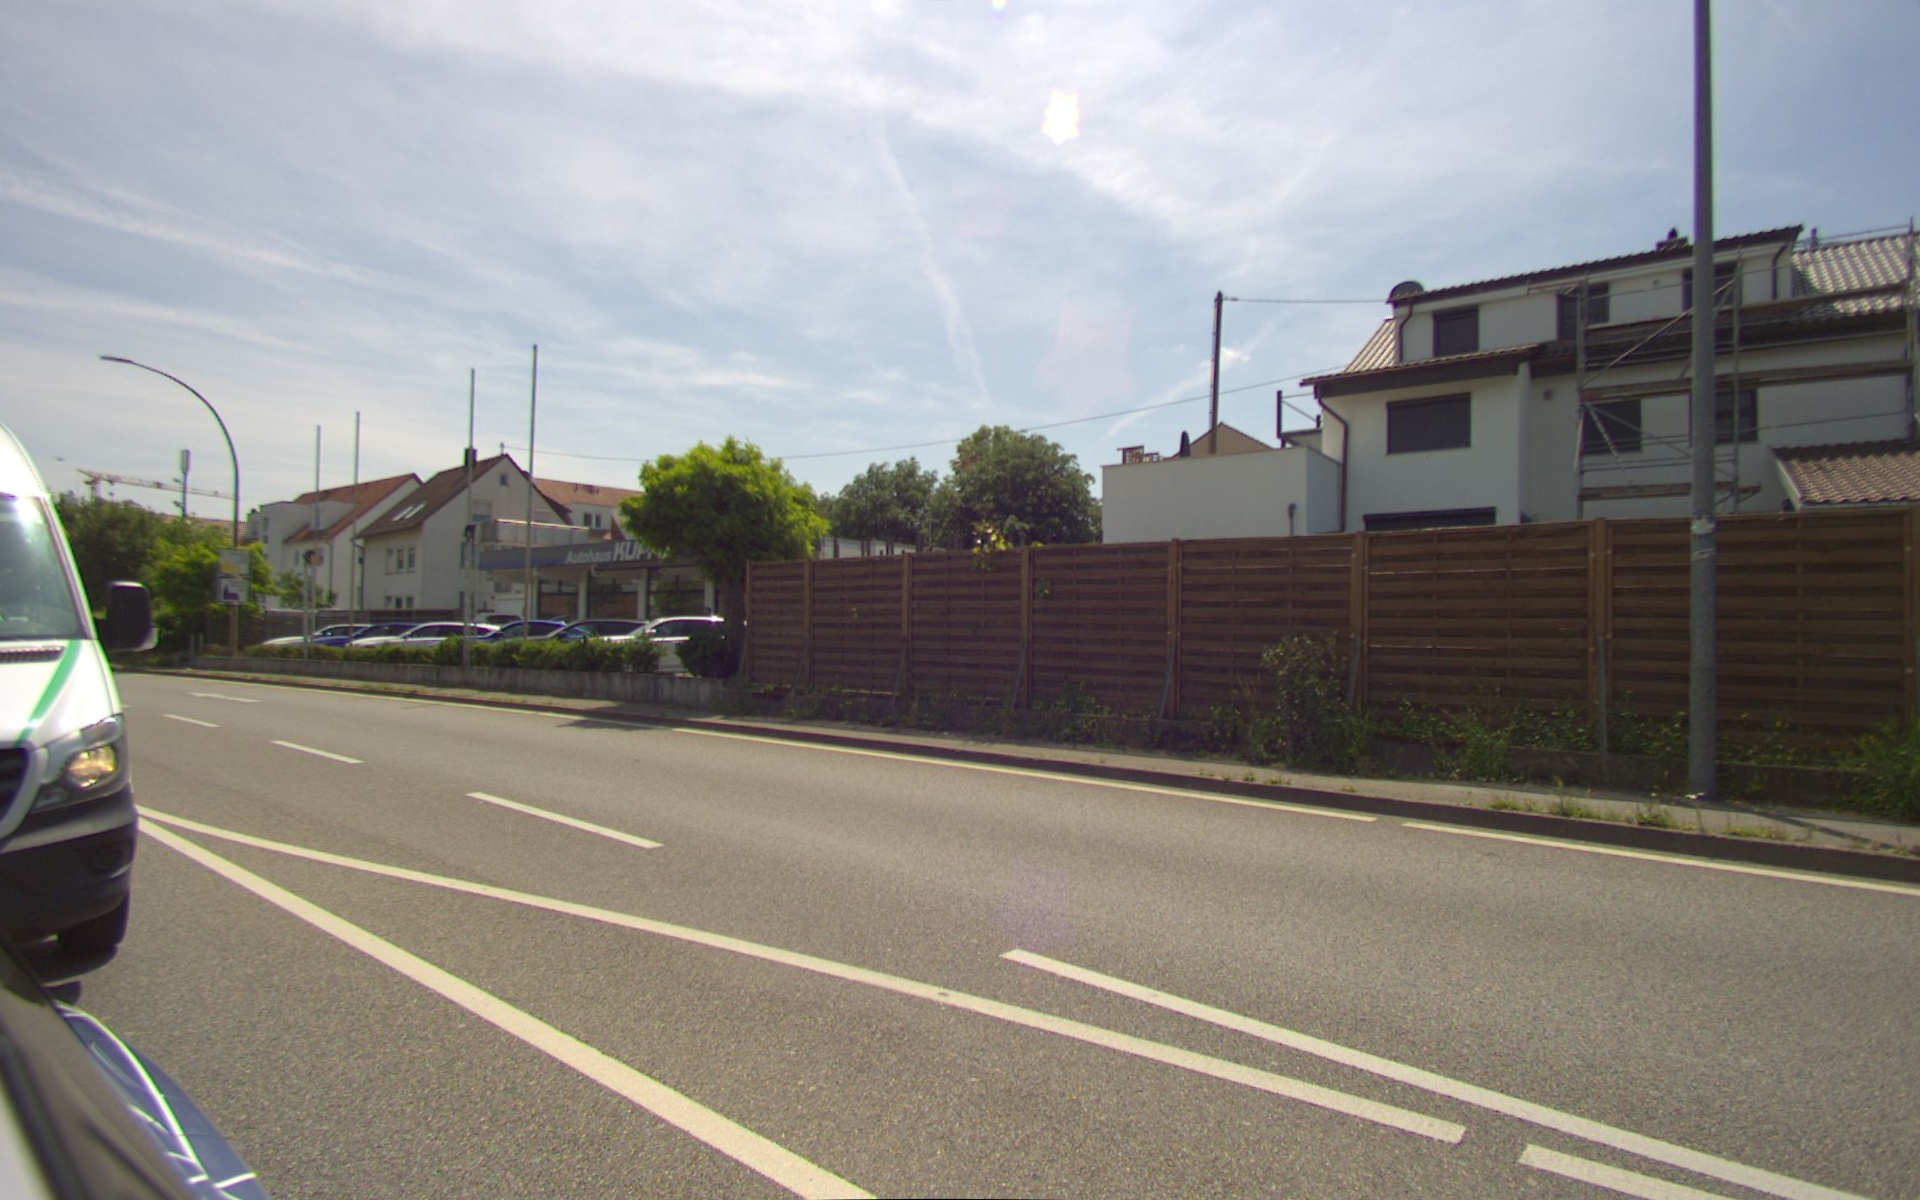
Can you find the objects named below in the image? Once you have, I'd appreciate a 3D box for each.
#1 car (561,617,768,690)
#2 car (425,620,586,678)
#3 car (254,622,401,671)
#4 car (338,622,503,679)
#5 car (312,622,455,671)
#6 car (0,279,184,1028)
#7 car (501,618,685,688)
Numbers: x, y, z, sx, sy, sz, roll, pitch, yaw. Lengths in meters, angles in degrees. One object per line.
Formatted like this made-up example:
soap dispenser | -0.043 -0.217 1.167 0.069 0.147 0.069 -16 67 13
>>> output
car | -6.717 1.161 23.017 4.264 1.471 1.861 0 -1 -26
car | -12.535 1.317 28.031 3.930 1.453 1.860 -1 -1 -25
car | -22.373 1.612 35.980 4.192 1.541 2.006 -1 -1 -24
car | -16.144 1.489 30.559 4.238 1.530 2.006 -1 -1 -23
car | -19.015 1.510 33.574 3.930 1.475 2.006 -1 -1 -24
car | -5.809 0.247 4.983 5.628 2.619 1.953 -2 -1 40
car | -9.310 1.291 25.693 4.187 1.557 1.856 -1 -1 -27
